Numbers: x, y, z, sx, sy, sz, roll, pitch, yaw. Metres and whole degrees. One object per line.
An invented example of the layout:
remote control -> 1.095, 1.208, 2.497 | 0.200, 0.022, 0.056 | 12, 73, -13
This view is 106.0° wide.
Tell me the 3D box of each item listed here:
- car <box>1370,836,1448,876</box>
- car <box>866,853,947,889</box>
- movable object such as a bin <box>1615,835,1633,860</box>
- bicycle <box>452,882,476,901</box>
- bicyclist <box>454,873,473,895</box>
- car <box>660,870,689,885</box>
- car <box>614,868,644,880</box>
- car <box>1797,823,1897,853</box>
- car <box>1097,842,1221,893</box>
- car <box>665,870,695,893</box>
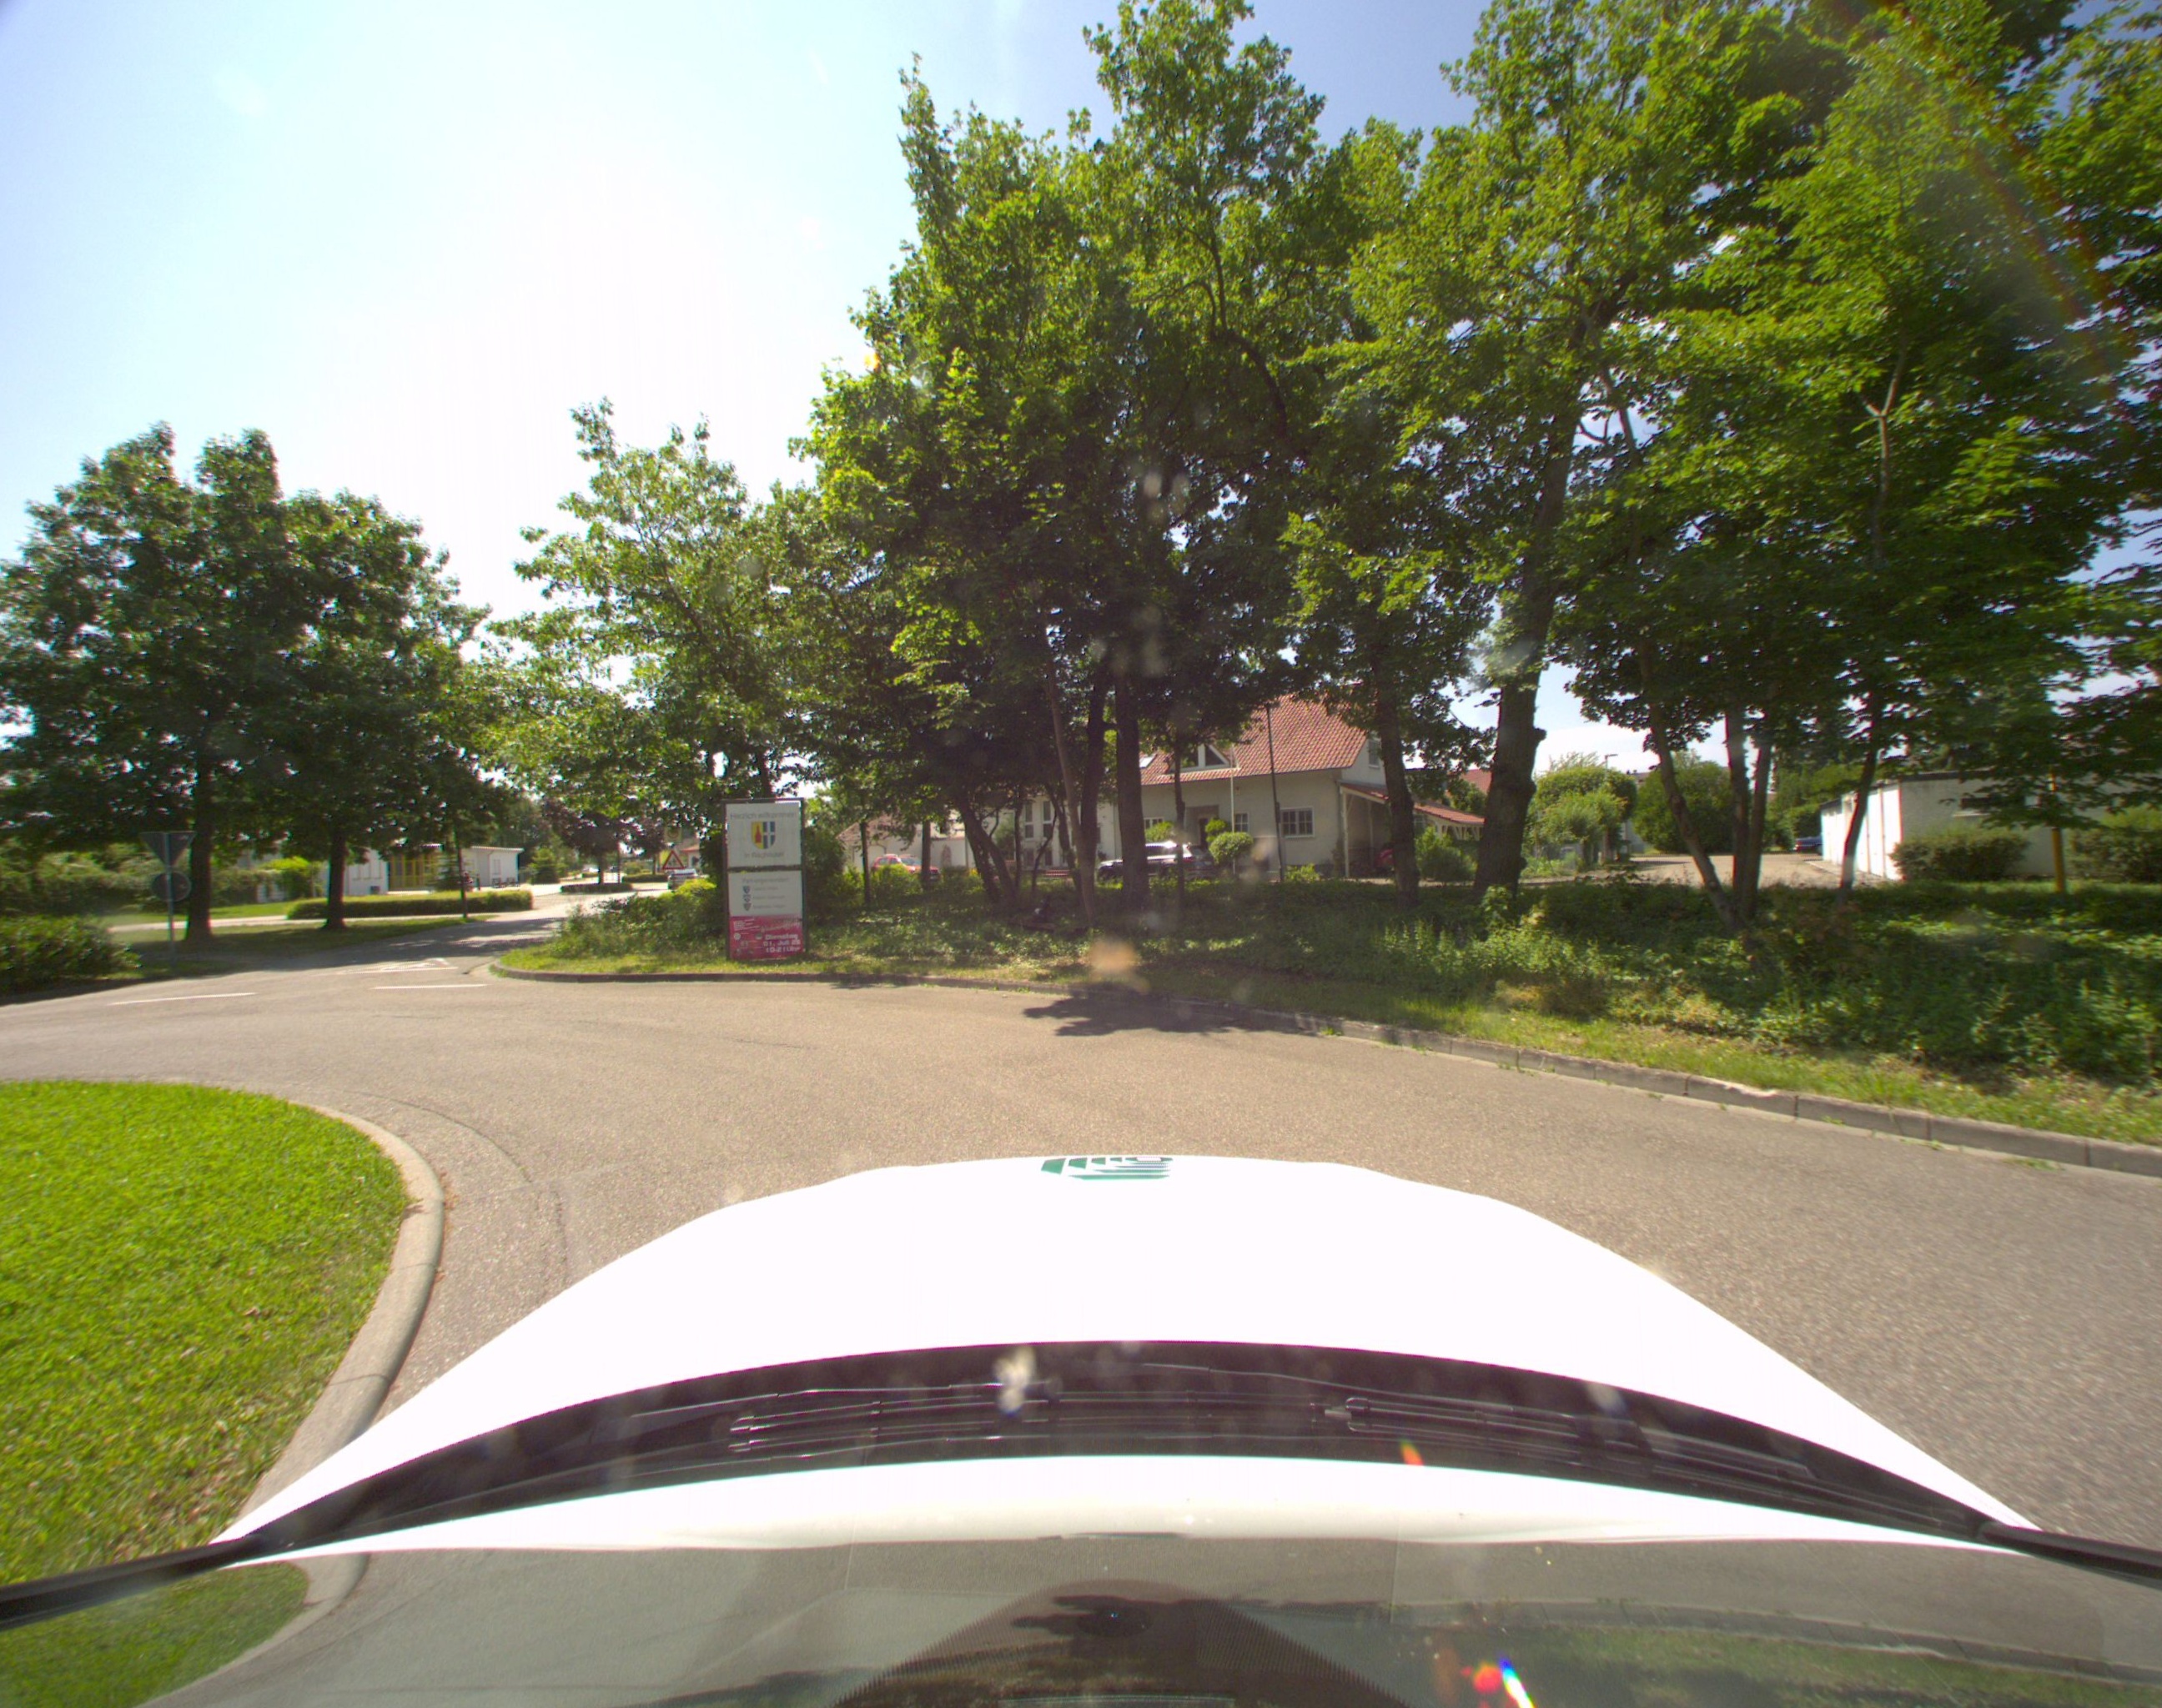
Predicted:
car -> 12.661, 0.046, 31.297 | 1.663, 1.385, 3.717 | -2, 1, 40
car -> -8.360, 0.820, 38.891 | 3.975, 1.601, 1.676 | -2, 0, 41
movable object such as a bin -> 25.199, -0.292, 37.802 | 0.650, 1.112, 0.460 | -2, 0, 36
bicycle -> -33.146, 2.022, 43.773 | 0.599, 0.929, 1.609 | -2, 0, -21
bicyclist -> -33.154, 1.598, 43.748 | 0.599, 1.164, 0.644 | -2, 0, -21
car -> -43.157, 2.531, 86.472 | 1.643, 1.486, 3.951 | -3, 0, -43
car -> -57.815, 2.563, 104.201 | 3.948, 1.288, 2.013 | -2, 0, 40
car -> 36.165, -0.752, 38.547 | 3.236, 1.253, 1.583 | -2, 0, 36
car -> 2.770, 0.486, 29.245 | 4.089, 1.705, 1.677 | -2, 0, 36
car -> -25.435, 1.711, 51.757 | 1.622, 1.288, 3.527 | -2, 0, -25
